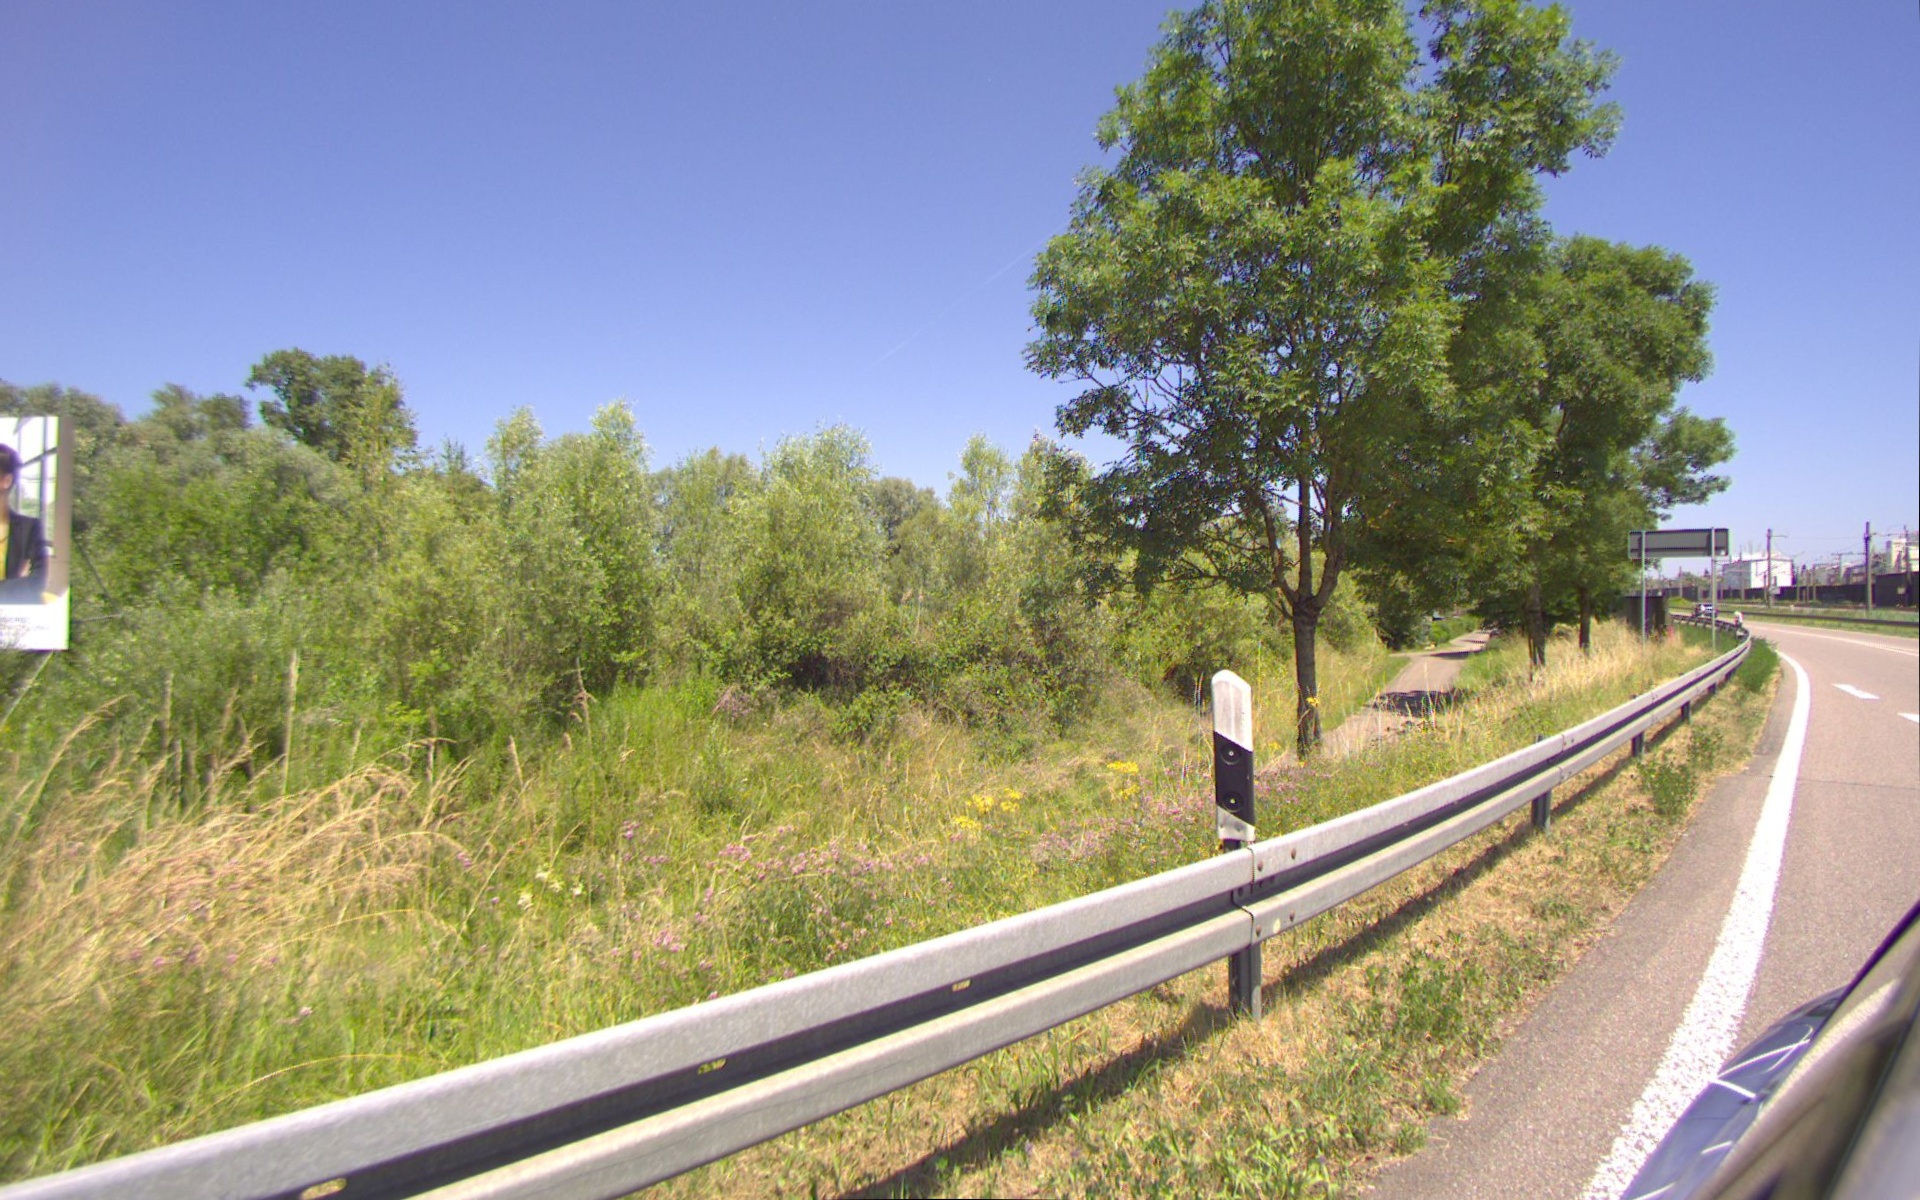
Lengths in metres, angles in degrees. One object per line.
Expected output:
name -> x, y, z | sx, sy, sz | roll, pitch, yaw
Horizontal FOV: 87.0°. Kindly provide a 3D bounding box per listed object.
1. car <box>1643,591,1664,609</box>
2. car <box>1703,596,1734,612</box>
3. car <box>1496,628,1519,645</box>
car -> 80.027, -0.056, 116.808 | 1.987, 2.039, 3.951 | 1, 1, 34
car -> 74.946, 0.341, 100.075 | 1.855, 1.503, 4.836 | 1, 1, 30
car -> 58.303, 3.836, 107.727 | 1.984, 1.705, 3.955 | -1, -1, 31
